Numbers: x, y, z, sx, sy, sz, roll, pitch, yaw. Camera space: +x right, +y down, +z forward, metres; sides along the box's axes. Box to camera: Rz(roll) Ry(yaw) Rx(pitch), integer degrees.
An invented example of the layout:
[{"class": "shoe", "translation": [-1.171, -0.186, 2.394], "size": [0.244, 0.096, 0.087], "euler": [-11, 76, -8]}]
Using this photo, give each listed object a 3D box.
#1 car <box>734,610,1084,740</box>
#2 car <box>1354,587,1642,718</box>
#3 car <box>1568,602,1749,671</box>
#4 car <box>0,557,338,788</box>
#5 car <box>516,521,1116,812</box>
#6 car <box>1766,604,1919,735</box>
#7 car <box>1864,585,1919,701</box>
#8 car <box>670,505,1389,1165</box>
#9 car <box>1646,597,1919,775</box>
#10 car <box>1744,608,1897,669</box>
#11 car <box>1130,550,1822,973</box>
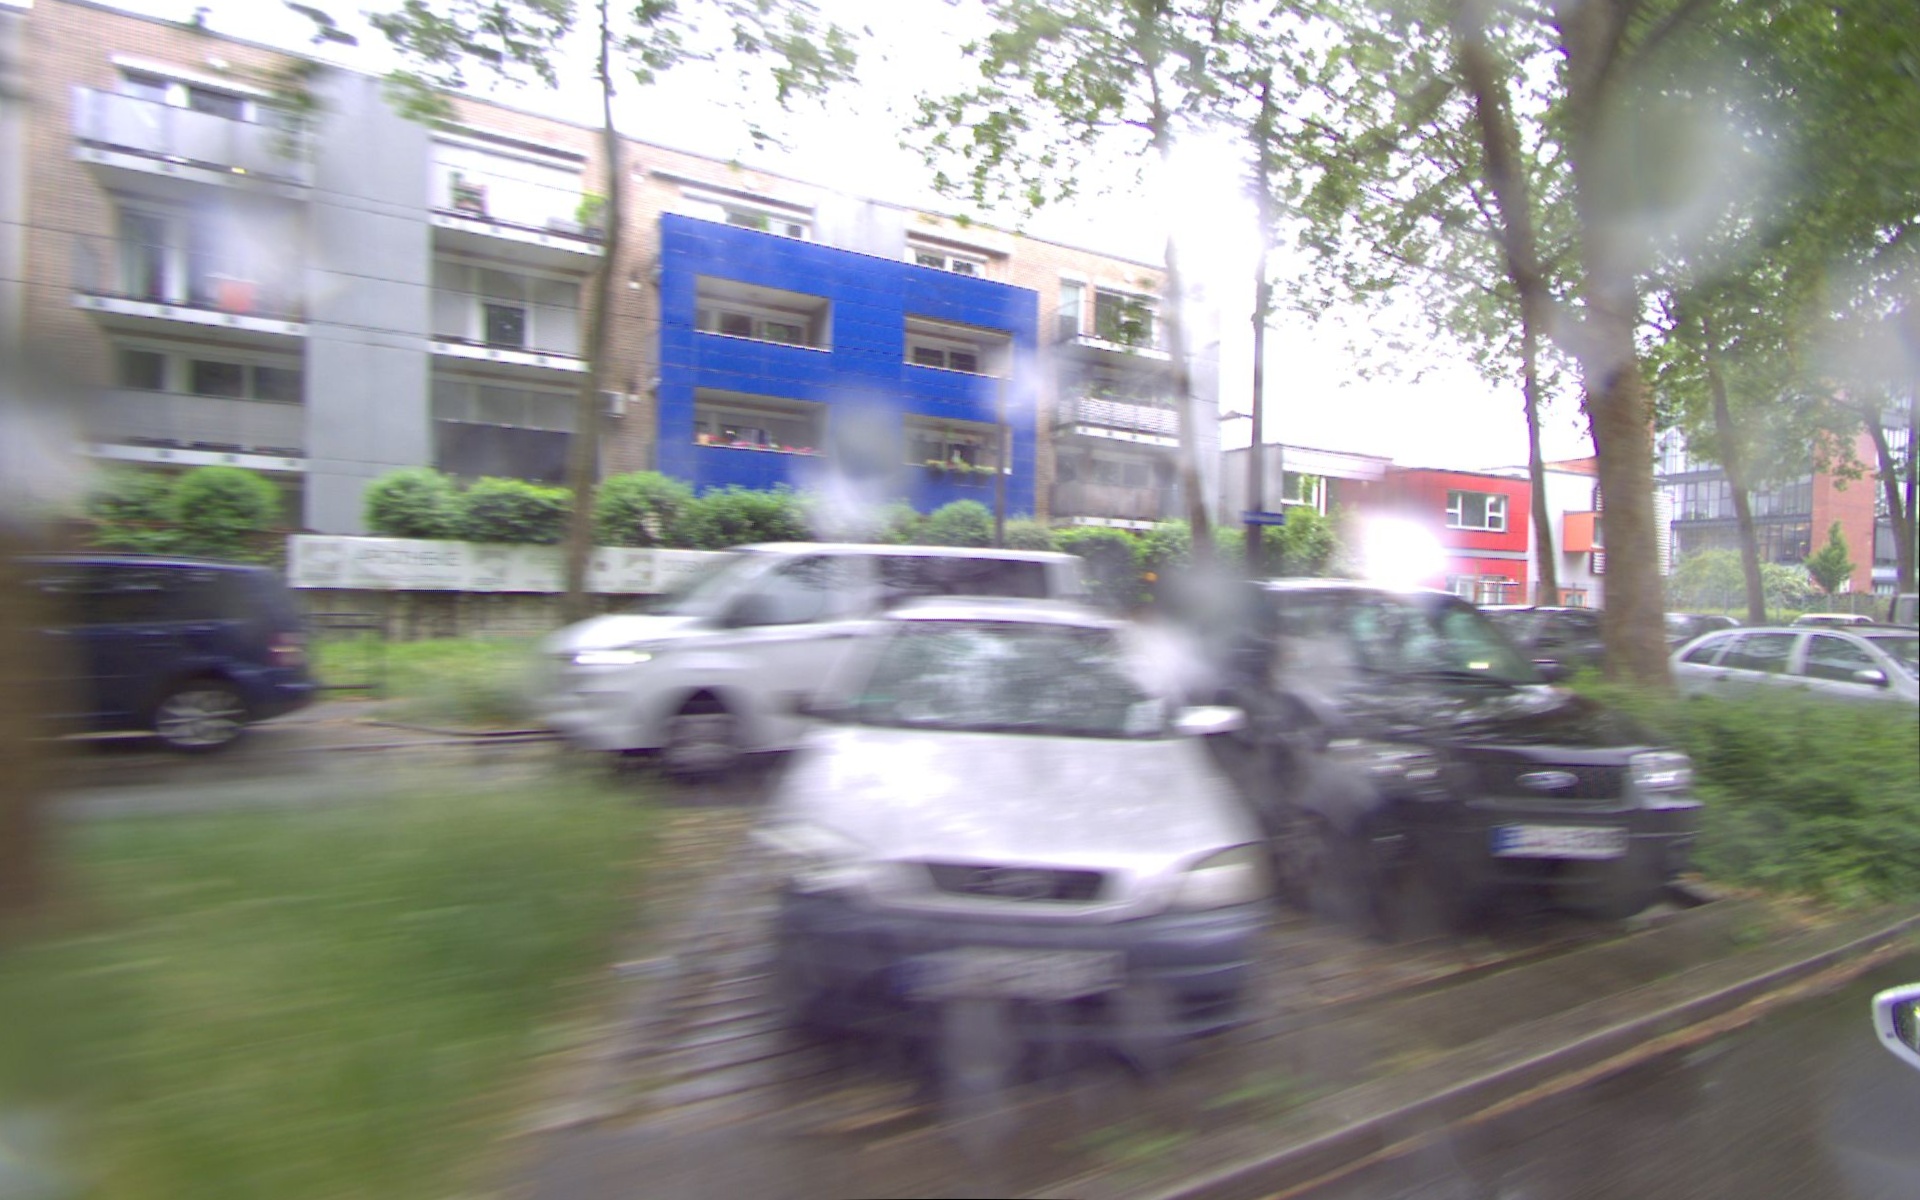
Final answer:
[{"class": "car", "translation": [-0.600, 0.852, 13.194], "size": [4.215, 1.408, 1.980], "euler": [0, 0, -35]}, {"class": "car", "translation": [8.037, 0.707, 14.952], "size": [4.093, 1.662, 1.982], "euler": [1, 1, -32]}, {"class": "car", "translation": [16.172, 0.776, 23.220], "size": [4.225, 1.439, 1.982], "euler": [0, 0, -33]}, {"class": "car", "translation": [-7.826, 0.534, 8.457], "size": [4.372, 1.764, 1.893], "euler": [1, 1, -32]}, {"class": "car", "translation": [-1.165, 0.464, 9.248], "size": [5.104, 2.027, 2.025], "euler": [1, 1, -34]}, {"class": "car", "translation": [11.873, 0.835, 11.462], "size": [1.714, 1.456, 4.313], "euler": [1, 1, -3]}, {"class": "car", "translation": [17.599, 0.734, 15.877], "size": [2.061, 2.004, 5.133], "euler": [1, -1, 1]}, {"class": "car", "translation": [0.221, 0.654, 4.799], "size": [1.835, 1.667, 4.419], "euler": [1, -1, 1]}, {"class": "car", "translation": [9.267, 0.777, 10.057], "size": [1.715, 1.519, 4.065], "euler": [1, 1, -6]}, {"class": "car", "translation": [23.434, 1.032, 27.345], "size": [3.953, 1.528, 1.984], "euler": [2, 0, -30]}, {"class": "car", "translation": [2.458, 0.655, 6.240], "size": [1.892, 1.682, 4.417], "euler": [1, 0, -2]}]
